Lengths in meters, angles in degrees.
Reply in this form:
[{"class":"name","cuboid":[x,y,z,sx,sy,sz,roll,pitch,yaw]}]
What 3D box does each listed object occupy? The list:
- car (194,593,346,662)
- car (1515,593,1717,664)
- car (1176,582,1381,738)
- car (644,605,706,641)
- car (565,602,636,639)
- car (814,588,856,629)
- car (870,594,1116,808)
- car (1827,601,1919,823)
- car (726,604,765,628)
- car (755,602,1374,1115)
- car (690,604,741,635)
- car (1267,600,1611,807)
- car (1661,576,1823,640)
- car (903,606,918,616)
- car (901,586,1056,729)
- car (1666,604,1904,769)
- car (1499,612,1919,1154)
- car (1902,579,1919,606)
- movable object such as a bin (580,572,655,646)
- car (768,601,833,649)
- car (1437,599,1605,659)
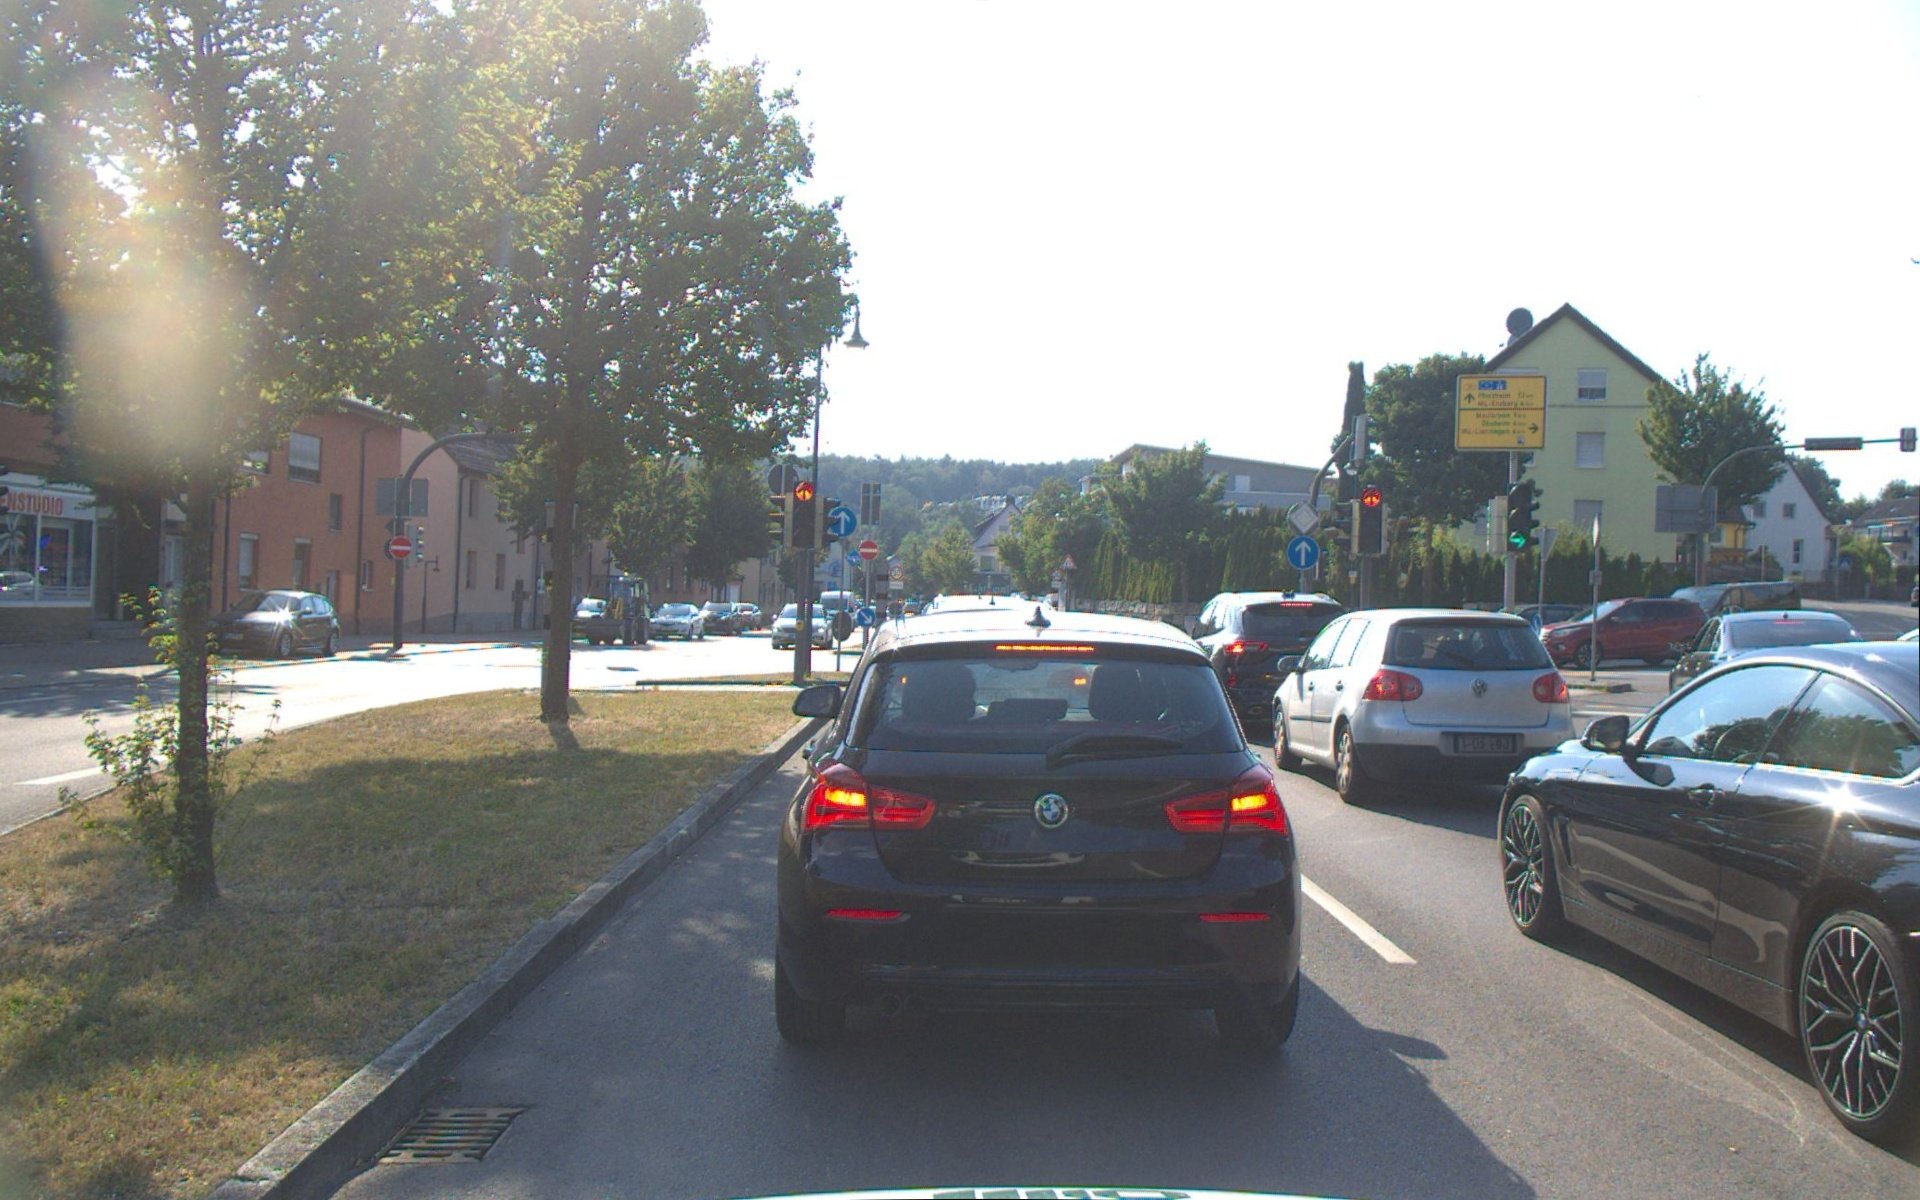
[{"class":"car","cuboid":[-15.473,0.576,37.303,1.702,1.323,3.999,5,0,-1]},{"class":"car","cuboid":[16.324,0.693,41.266,4.333,1.670,1.845,1,0,-8]},{"class":"car","cuboid":[3.745,0.650,20.068,1.725,1.685,3.902,-1,0,0]},{"class":"car","cuboid":[-11.891,0.945,69.153,1.701,1.323,3.800,5,0,2]},{"class":"car","cuboid":[-14.499,0.808,66.917,1.701,1.323,4.001,5,0,3]},{"class":"car","cuboid":[-7.766,0.529,103.351,2.041,2.435,5.529,1,0,1]},{"class":"car","cuboid":[0.236,0.717,13.994,1.751,1.520,4.280,-1,0,0]},{"class":"car","cuboid":[7.620,0.800,11.637,1.583,1.569,3.320,-1,0,6]},{"class":"car","cuboid":[-13.307,0.977,102.643,1.701,1.323,3.800,5,0,2]},{"class":"car","cuboid":[0.295,0.737,6.849,1.751,1.422,4.280,-1,0,0]},{"class":"car","cuboid":[-12.012,0.953,81.558,1.701,1.323,3.800,5,0,2]},{"class":"car","cuboid":[3.791,0.742,13.785,1.725,1.451,3.902,-1,0,0]},{"class":"car","cuboid":[22.508,0.236,47.559,4.716,1.770,1.831,1,0,-29]},{"class":"car","cuboid":[-7.015,1.568,235.599,1.701,1.323,3.800,5,0,2]},{"class":"car","cuboid":[0.206,0.650,21.034,1.751,1.622,4.280,-1,0,0]},{"class":"car","cuboid":[9.045,0.854,18.470,1.621,1.569,4.401,-1,0,17]},{"class":"car","cuboid":[3.470,0.786,5.829,1.725,1.422,4.280,-1,0,0]},{"class":"car","cuboid":[61.970,-0.500,106.553,1.930,1.709,4.202,0,0,34]},{"class":"movable object such as a bin","cuboid":[-11.957,0.297,58.004,1.701,2.485,4.449,0,0,0]},{"class":"car","cuboid":[-5.308,0.806,55.418,1.801,1.508,4.000,1,0,0]},{"class":"car","cuboid":[15.168,0.766,44.844,3.907,1.515,1.847,1,0,-3]}]
